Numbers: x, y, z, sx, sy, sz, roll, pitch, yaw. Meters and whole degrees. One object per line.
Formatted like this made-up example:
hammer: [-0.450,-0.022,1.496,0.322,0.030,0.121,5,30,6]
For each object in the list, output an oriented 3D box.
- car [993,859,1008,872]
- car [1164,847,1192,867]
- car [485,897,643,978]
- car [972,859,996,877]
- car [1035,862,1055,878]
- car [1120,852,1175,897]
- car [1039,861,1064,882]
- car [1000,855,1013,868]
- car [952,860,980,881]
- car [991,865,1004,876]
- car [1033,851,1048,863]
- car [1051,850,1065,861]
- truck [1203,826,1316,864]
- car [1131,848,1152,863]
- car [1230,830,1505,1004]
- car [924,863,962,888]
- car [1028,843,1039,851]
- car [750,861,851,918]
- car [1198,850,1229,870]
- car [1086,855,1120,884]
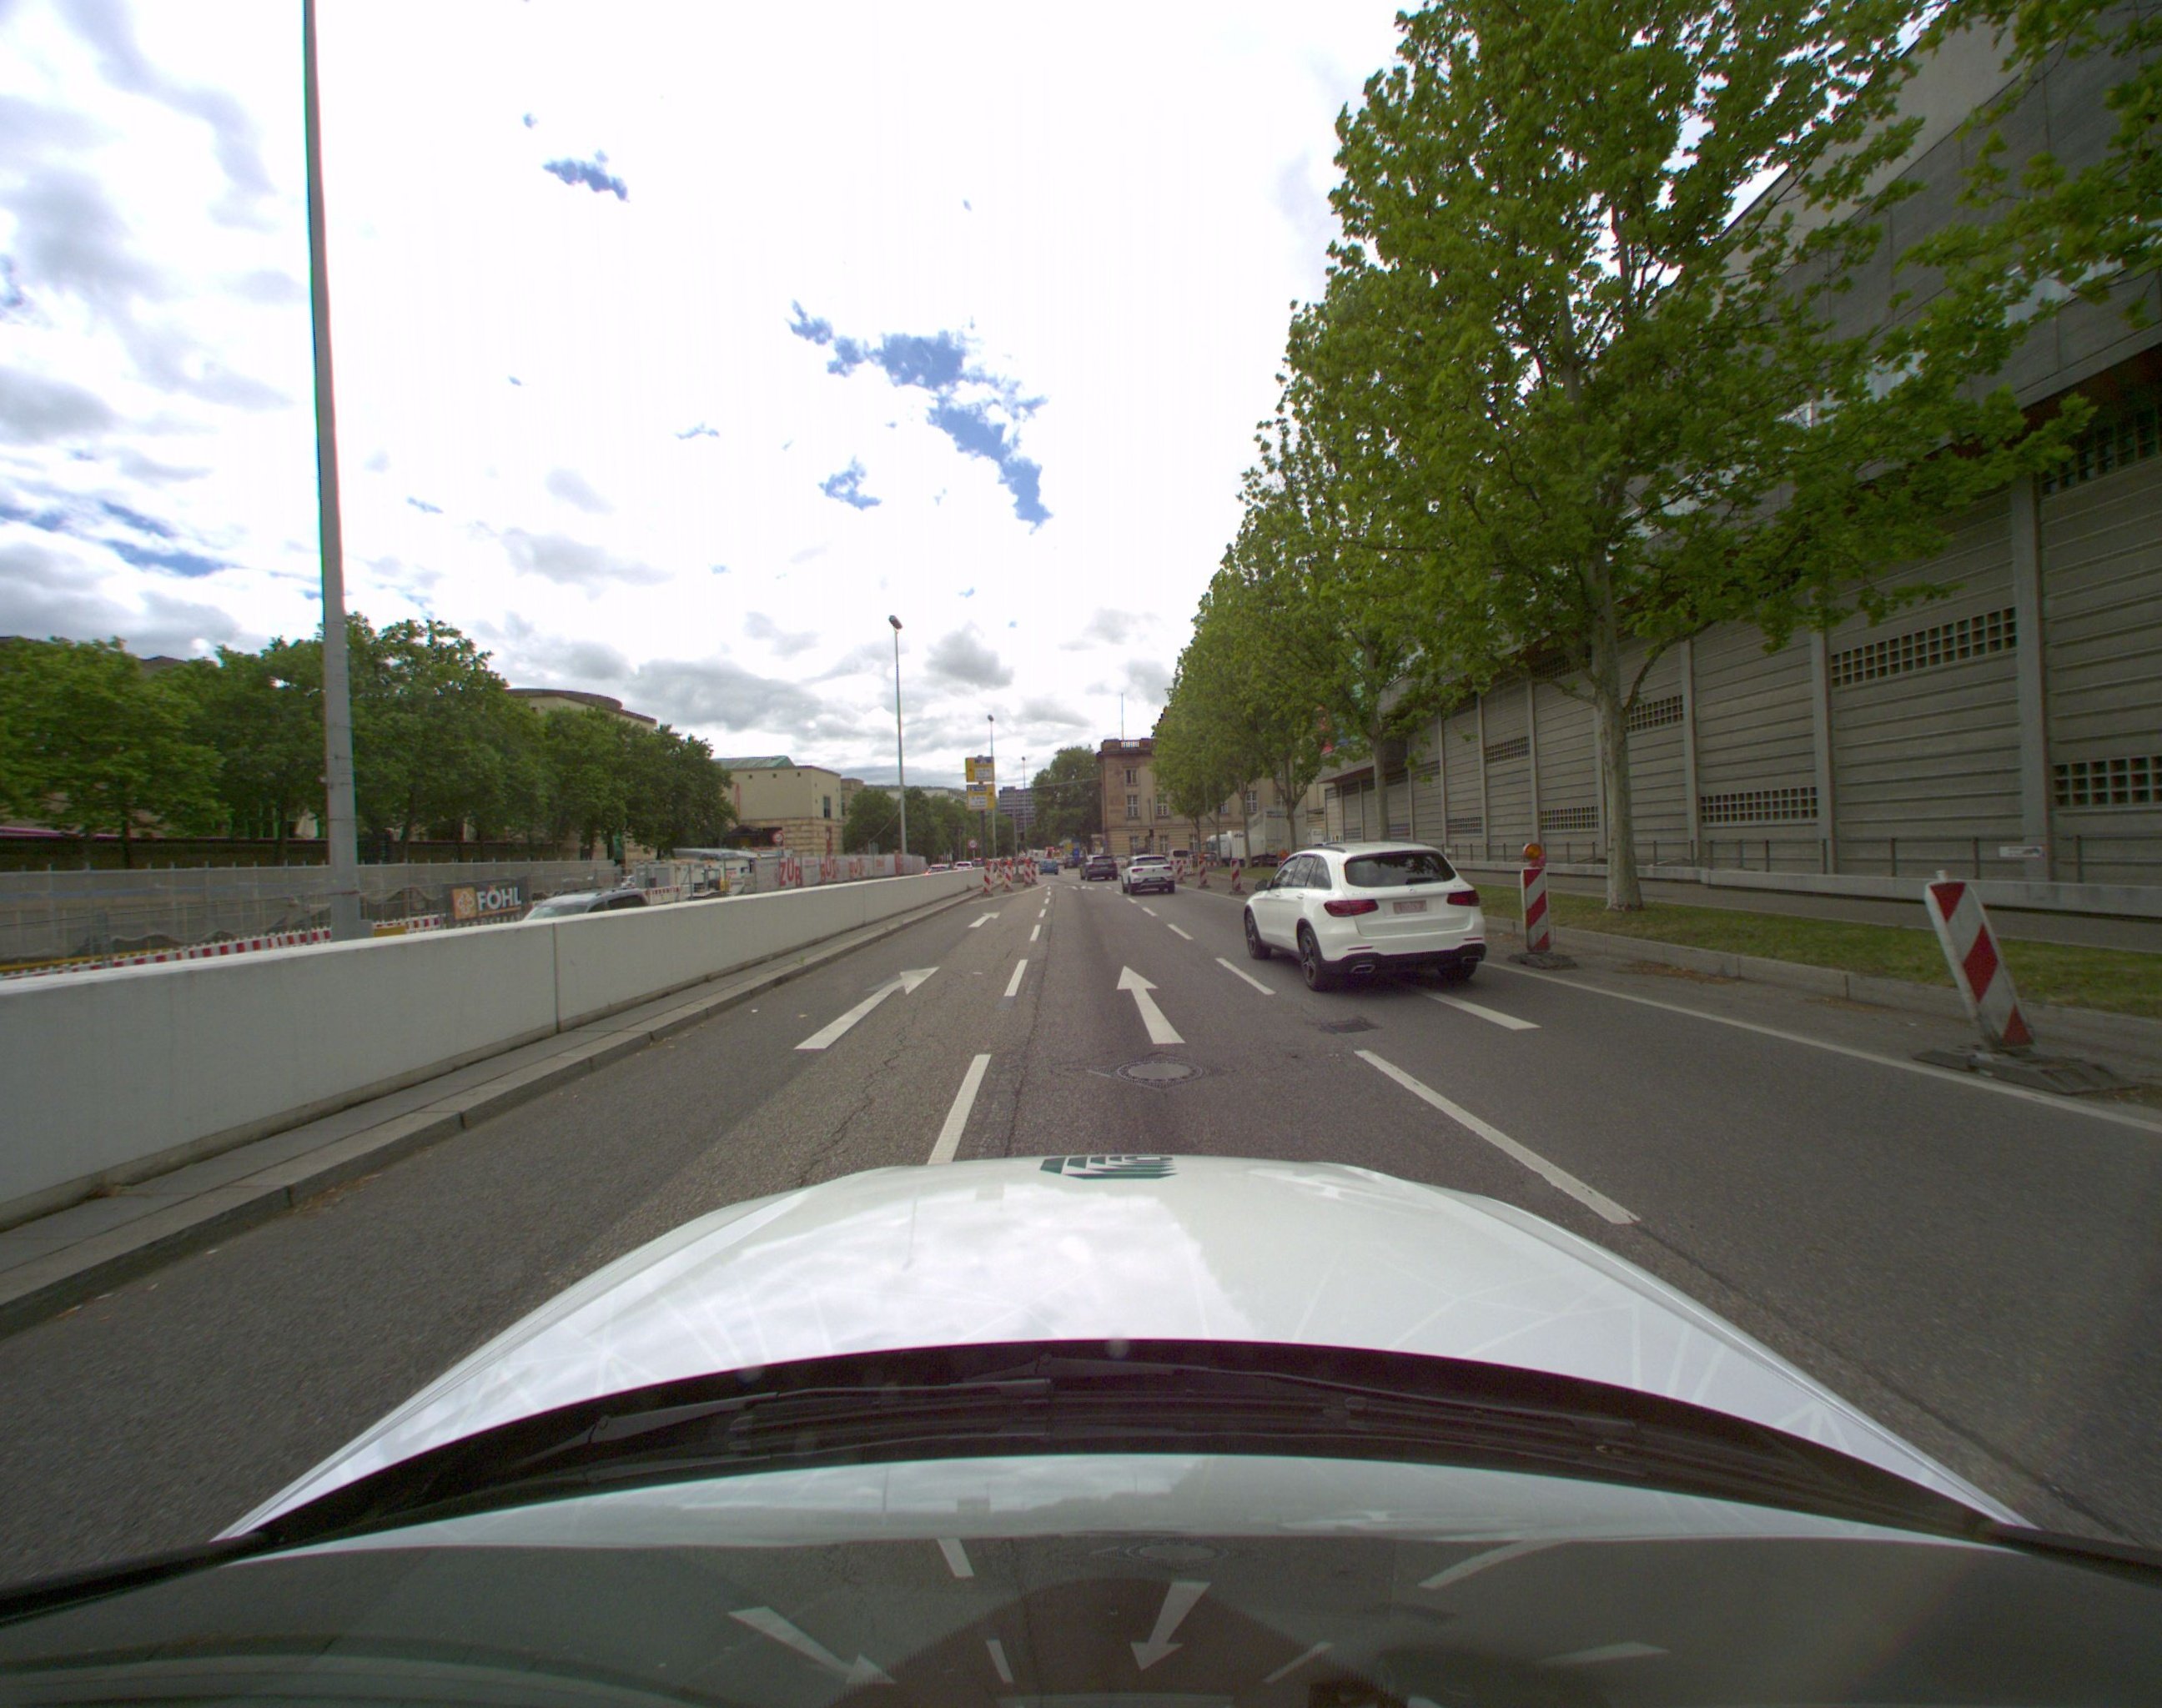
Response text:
car: [-10.472,1.517,106.219,1.747,1.568,4.325,-2,0,-4]
car: [8.150,0.303,68.897,1.745,1.568,4.329,-2,-1,-1]
car: [-13.013,2.041,20.762,1.745,1.567,3.377,-5,0,0]
car: [-9.218,1.314,77.736,1.745,1.567,3.377,-5,0,0]
car: [-4.368,1.990,98.906,1.815,1.741,4.483,-3,-3,4]
car: [2.652,0.789,33.520,1.745,1.567,4.330,-4,0,-1]
car: [-2.693,1.568,76.201,1.815,1.740,4.484,-3,0,4]
car: [-12.861,1.240,140.448,1.990,2.013,3.995,-3,1,-4]
car: [-9.310,1.295,66.115,1.745,1.568,3.377,-2,0,0]
car: [-12.862,2.483,125.394,1.747,1.568,4.325,-2,0,-4]
car: [-9.017,0.610,180.513,2.571,2.374,5.532,-3,0,3]
car: [-5.333,0.391,188.182,2.571,2.374,5.532,-3,0,3]
truck: [16.713,-0.804,76.740,9.999,3.051,2.568,-3,-1,-1]
car: [6.633,0.188,89.297,1.851,1.568,4.329,-2,-1,-1]
car: [3.383,0.655,10.690,1.806,1.642,4.549,-5,0,-1]
car: [-9.357,1.455,55.405,1.745,1.568,4.331,-2,0,0]
car: [-14.936,-2.182,254.811,2.571,2.374,5.532,-3,0,3]
car: [-9.285,1.123,27.350,1.988,1.641,3.998,-3,0,-1]
car: [11.085,0.550,68.446,1.851,1.568,4.329,-2,-1,-1]
car: [1.379,0.983,53.416,1.819,1.567,4.476,-4,1,-2]
